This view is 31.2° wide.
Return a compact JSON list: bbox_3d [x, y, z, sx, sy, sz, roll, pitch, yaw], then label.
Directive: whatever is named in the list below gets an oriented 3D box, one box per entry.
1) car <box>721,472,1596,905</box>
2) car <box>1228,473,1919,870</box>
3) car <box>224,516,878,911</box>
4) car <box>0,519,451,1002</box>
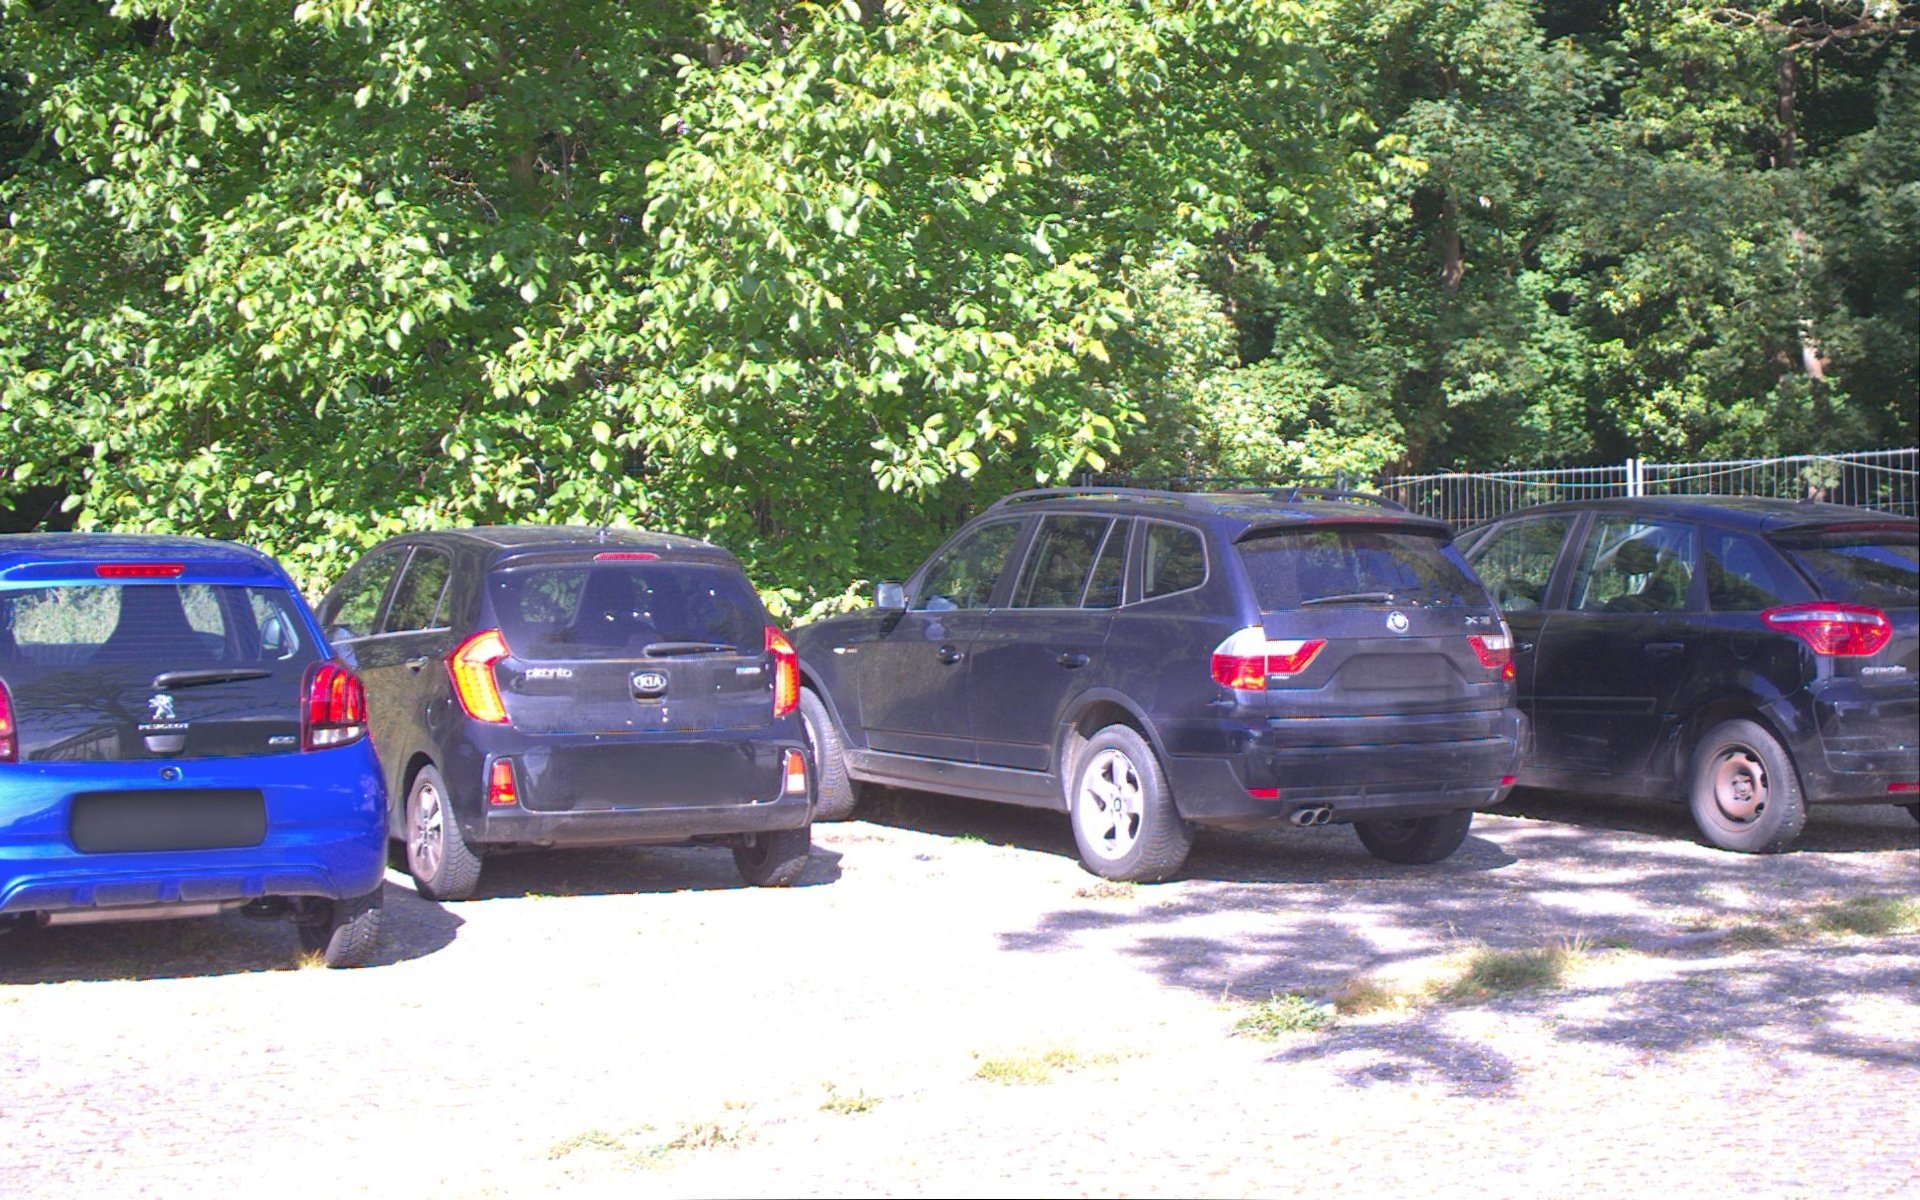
[{"bbox_3d":[0.756,0.280,15.993,1.874,1.625,4.273,0,3,-33],"label":"car"},{"bbox_3d":[3.456,0.239,17.529,1.824,1.583,4.273,-2,5,-35],"label":"car"},{"bbox_3d":[-1.916,0.386,15.053,1.738,1.446,3.726,0,2,-25],"label":"car"},{"bbox_3d":[-3.409,0.456,12.609,1.780,1.453,3.790,0,2,-30],"label":"car"}]
